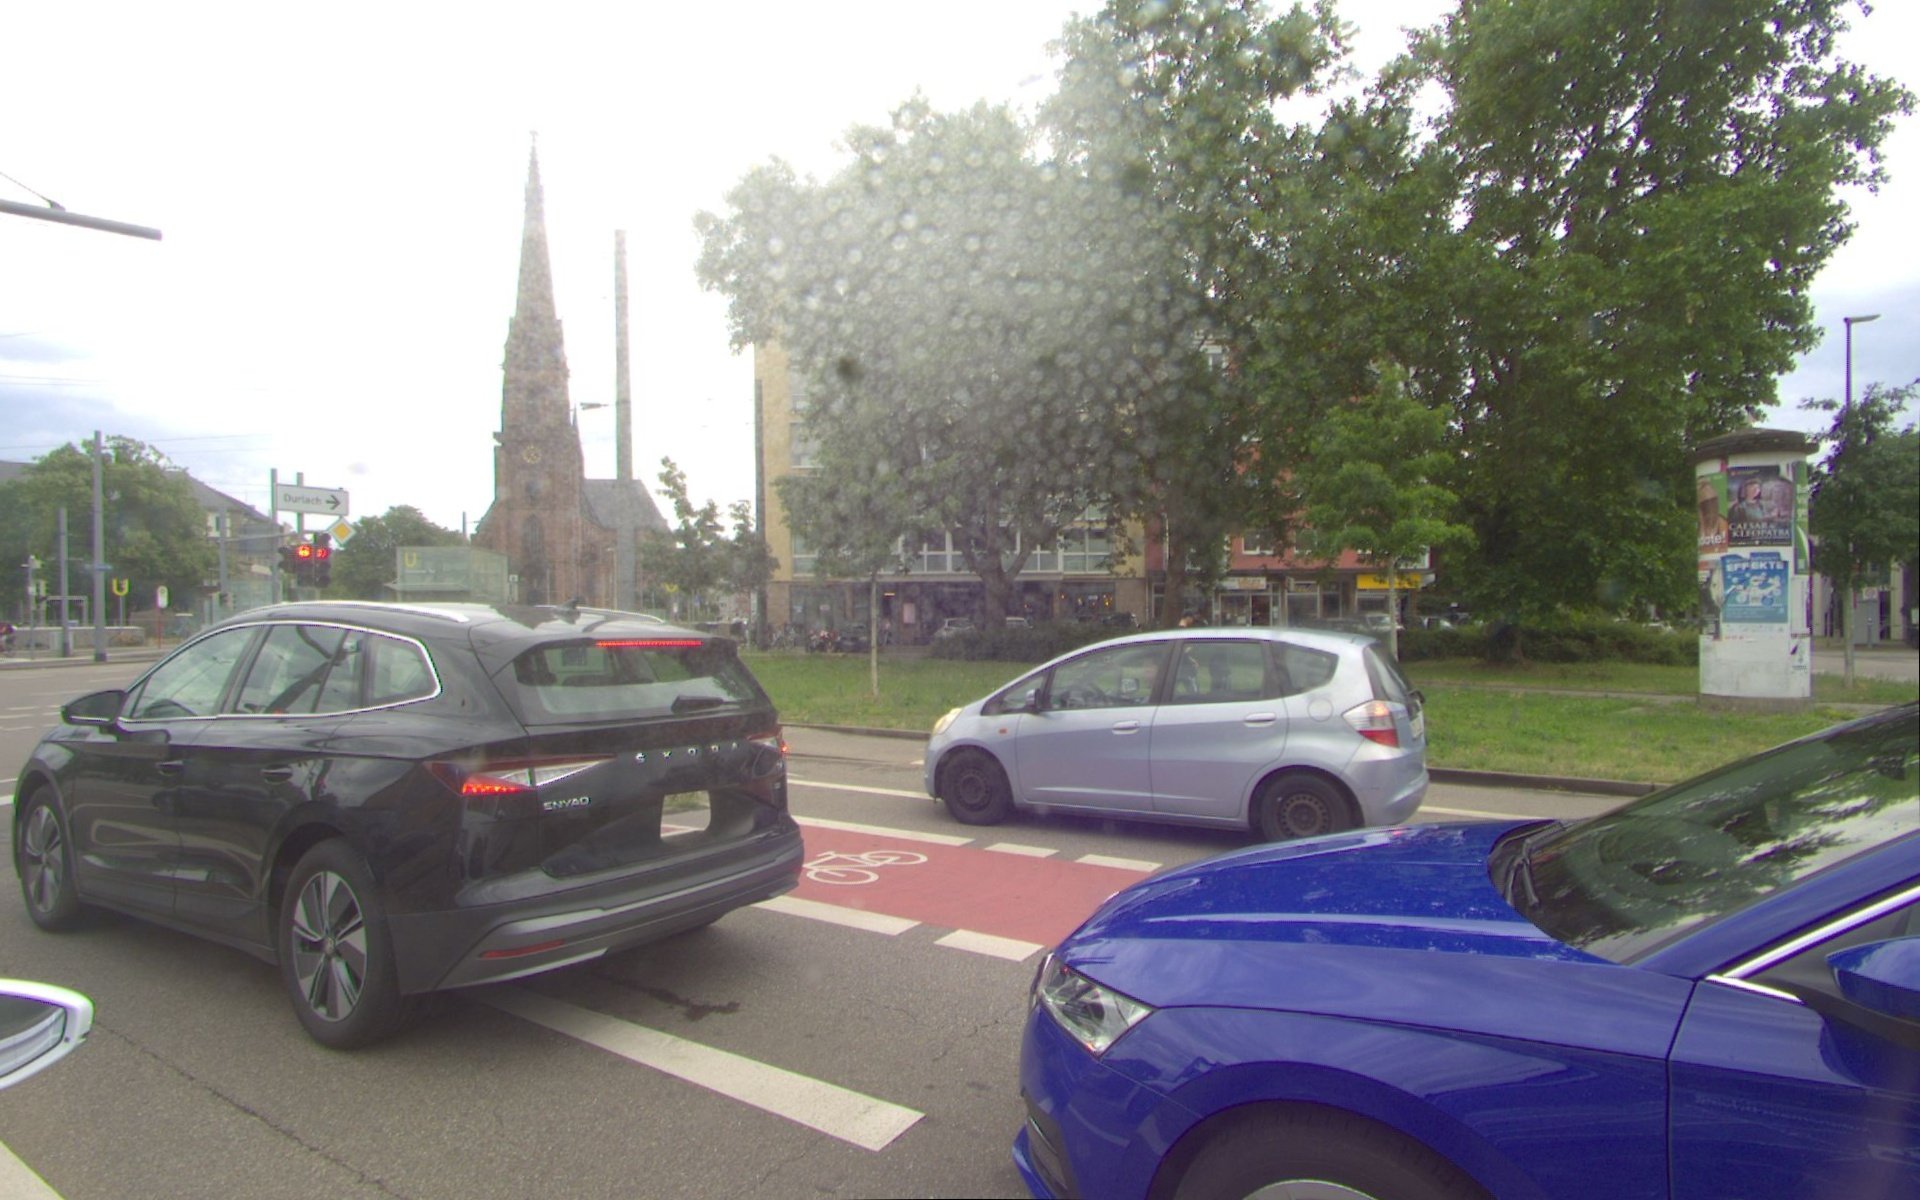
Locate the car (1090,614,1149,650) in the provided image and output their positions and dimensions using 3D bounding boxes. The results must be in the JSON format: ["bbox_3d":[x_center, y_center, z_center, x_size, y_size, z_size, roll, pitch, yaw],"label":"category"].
[{"bbox_3d":[7.370,1.464,46.700,1.825,1.568,4.476,0,-1,-3],"label":"car"}]

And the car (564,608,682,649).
[{"bbox_3d":[-18.044,1.486,53.867,5.674,2.039,2.011,-1,-1,-40],"label":"car"}]

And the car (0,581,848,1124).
[{"bbox_3d":[-2.851,0.794,4.905,4.444,1.617,1.774,-1,-1,31],"label":"car"}]

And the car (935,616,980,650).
[{"bbox_3d":[-0.159,1.500,46.156,1.825,1.509,4.476,0,-1,-3],"label":"car"}]

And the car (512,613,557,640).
[{"bbox_3d":[-32.483,1.991,76.496,1.961,2.040,4.000,0,-1,-5],"label":"car"}]

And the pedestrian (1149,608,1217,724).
[{"bbox_3d":[3.674,1.068,16.530,0.968,1.868,0.536,0,0,-11],"label":"pedestrian"}]

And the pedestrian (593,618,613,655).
[{"bbox_3d":[-16.263,1.664,45.645,0.625,1.659,0.872,0,0,-1],"label":"pedestrian"}]

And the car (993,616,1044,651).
[{"bbox_3d":[2.658,1.509,46.203,1.825,1.509,4.476,0,-1,-3],"label":"car"}]

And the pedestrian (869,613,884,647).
[{"bbox_3d":[-4.081,1.467,48.996,0.625,1.659,0.872,0,0,0],"label":"pedestrian"}]

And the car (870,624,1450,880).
[{"bbox_3d":[1.444,0.935,7.694,4.039,1.486,1.746,-1,-1,32],"label":"car"}]

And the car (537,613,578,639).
[{"bbox_3d":[-32.571,2.072,81.048,1.961,2.040,4.000,0,-1,-5],"label":"car"}]

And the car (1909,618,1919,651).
[{"bbox_3d":[46.495,1.593,46.351,1.865,1.568,4.469,-2,-1,17],"label":"car"}]

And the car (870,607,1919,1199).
[{"bbox_3d":[2.139,0.760,1.681,4.402,1.508,1.776,-1,-1,32],"label":"car"}]

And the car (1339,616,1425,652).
[{"bbox_3d":[19.499,1.537,46.452,1.825,1.568,4.476,0,-1,-5],"label":"car"}]

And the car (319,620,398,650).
[{"bbox_3d":[-32.269,1.849,53.856,1.740,1.483,4.001,-2,-1,1],"label":"car"}]

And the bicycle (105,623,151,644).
[{"bbox_3d":[-55.445,2.250,66.741,0.699,1.348,2.252,-2,-1,39],"label":"bicycle"}]

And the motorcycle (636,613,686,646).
[{"bbox_3d":[-11.126,1.095,37.338,0.753,1.183,2.385,0,-1,12],"label":"motorcycle"}]

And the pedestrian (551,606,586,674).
[{"bbox_3d":[-11.454,1.150,29.328,0.874,1.956,1.016,0,0,-16],"label":"pedestrian"}]

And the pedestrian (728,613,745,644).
[{"bbox_3d":[-12.042,1.536,53.994,0.771,1.659,0.637,0,0,-4],"label":"pedestrian"}]

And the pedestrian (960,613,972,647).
[{"bbox_3d":[0.298,1.480,49.965,0.625,1.659,0.872,0,0,0],"label":"pedestrian"}]

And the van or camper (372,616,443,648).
[{"bbox_3d":[-33.033,1.905,60.005,1.961,1.764,4.305,-2,-1,-3],"label":"van or camper"}]

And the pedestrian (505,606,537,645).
[{"bbox_3d":[-21.022,1.216,47.954,1.066,1.820,0.947,-2,-1,-1],"label":"pedestrian"}]

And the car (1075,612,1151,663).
[{"bbox_3d":[5.489,1.326,36.480,1.825,1.745,4.476,0,-1,-3],"label":"car"}]

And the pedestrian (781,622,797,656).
[{"bbox_3d":[-8.607,1.958,50.418,0.625,1.659,0.872,0,0,-1],"label":"pedestrian"}]

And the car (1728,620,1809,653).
[{"bbox_3d":[43.517,1.946,54.027,1.828,1.644,4.469,-2,-1,17],"label":"car"}]

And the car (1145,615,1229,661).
[{"bbox_3d":[8.224,1.342,36.679,1.825,1.568,4.476,0,-1,-3],"label":"car"}]

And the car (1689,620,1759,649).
[{"bbox_3d":[45.353,2.024,59.565,1.828,1.644,4.469,-2,-1,17],"label":"car"}]

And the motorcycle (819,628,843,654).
[{"bbox_3d":[-5.096,1.599,39.514,0.858,1.010,1.014,0,-1,-14],"label":"motorcycle"}]

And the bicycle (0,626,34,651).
[{"bbox_3d":[-46.262,1.863,48.778,0.763,1.199,2.030,0,-1,-13],"label":"bicycle"}]

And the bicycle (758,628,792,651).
[{"bbox_3d":[-7.459,1.602,40.460,1.240,0.929,0.595,0,0,2],"label":"bicycle"}]

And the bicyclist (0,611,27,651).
[{"bbox_3d":[-46.239,1.523,48.758,0.764,1.922,0.996,0,0,-13],"label":"bicyclist"}]

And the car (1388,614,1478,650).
[{"bbox_3d":[21.965,1.472,46.687,1.825,1.568,4.476,0,-1,-5],"label":"car"}]
